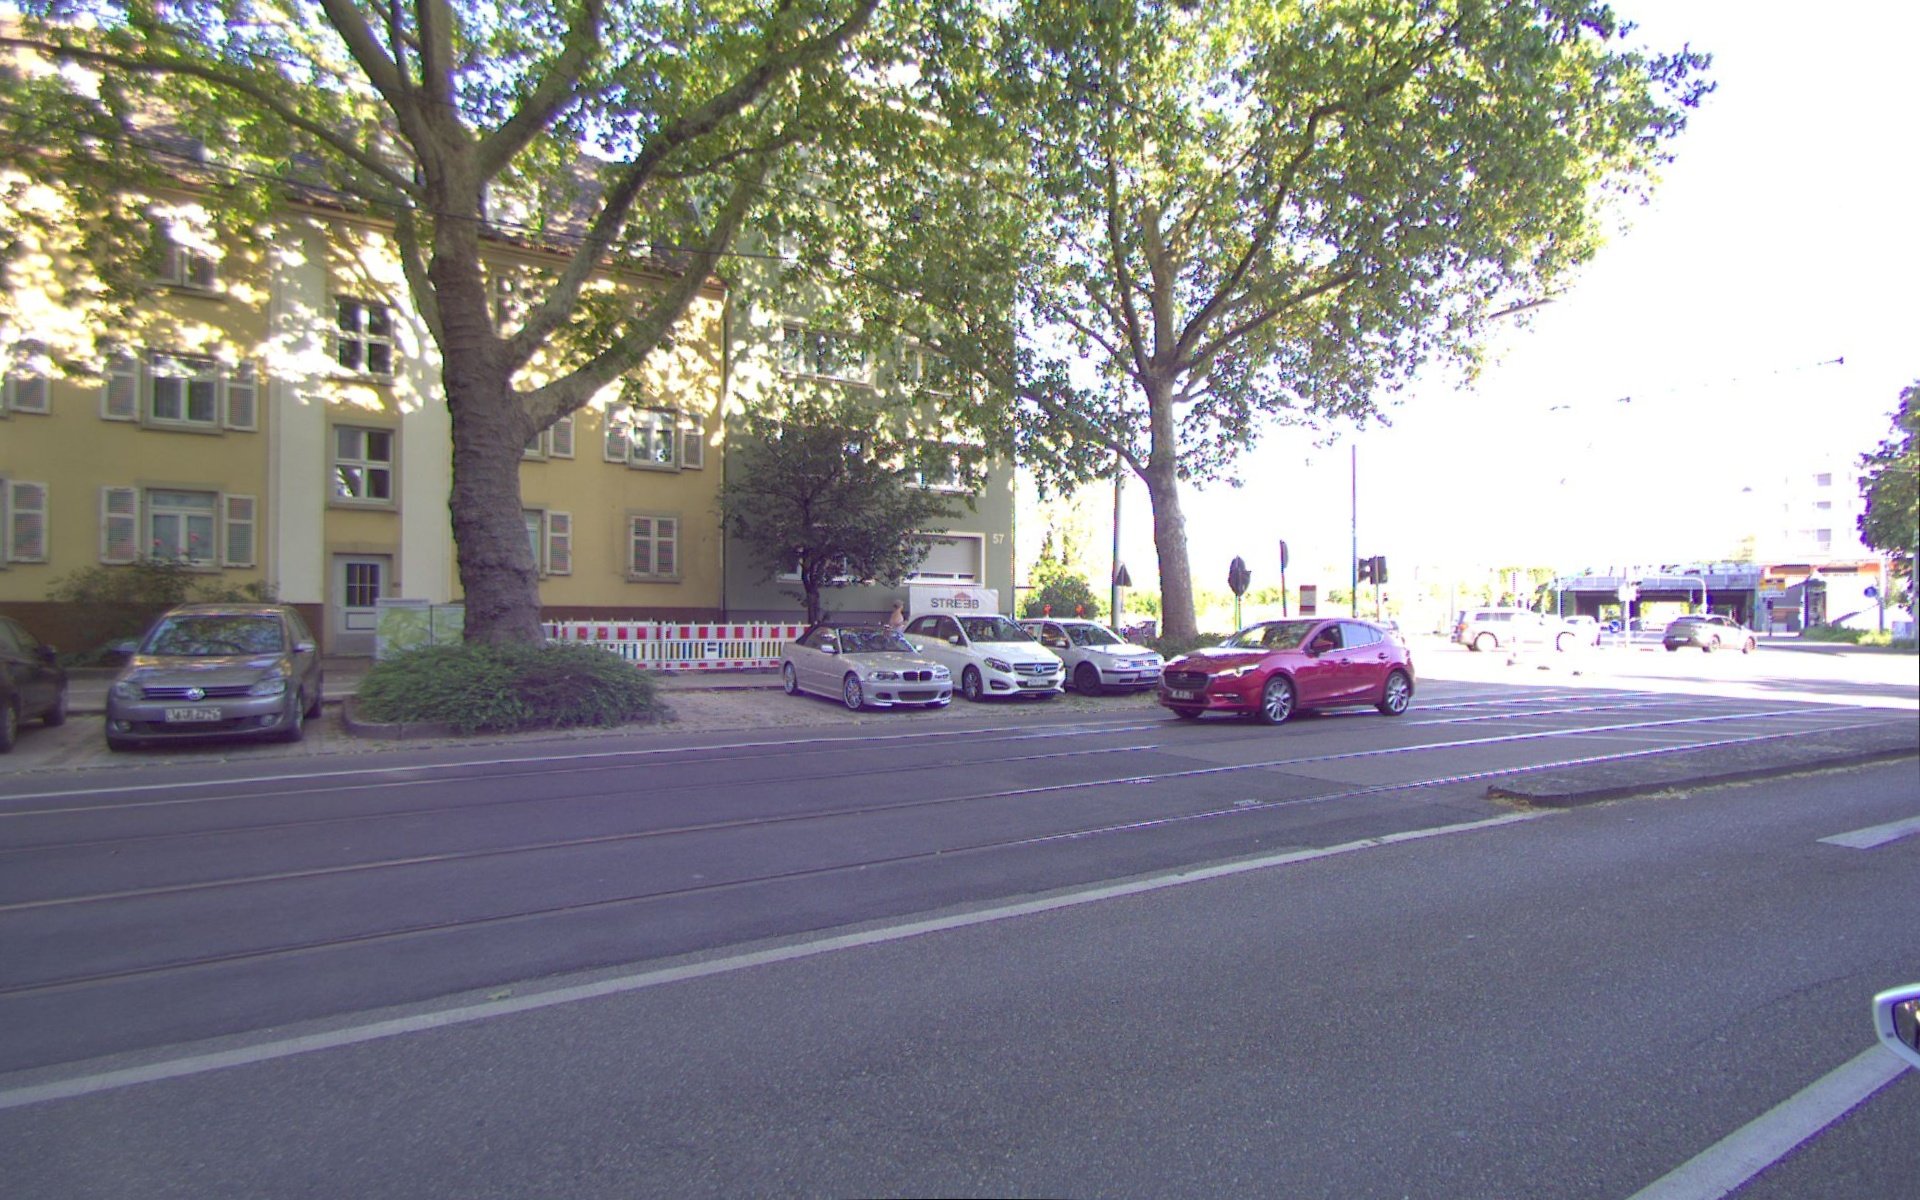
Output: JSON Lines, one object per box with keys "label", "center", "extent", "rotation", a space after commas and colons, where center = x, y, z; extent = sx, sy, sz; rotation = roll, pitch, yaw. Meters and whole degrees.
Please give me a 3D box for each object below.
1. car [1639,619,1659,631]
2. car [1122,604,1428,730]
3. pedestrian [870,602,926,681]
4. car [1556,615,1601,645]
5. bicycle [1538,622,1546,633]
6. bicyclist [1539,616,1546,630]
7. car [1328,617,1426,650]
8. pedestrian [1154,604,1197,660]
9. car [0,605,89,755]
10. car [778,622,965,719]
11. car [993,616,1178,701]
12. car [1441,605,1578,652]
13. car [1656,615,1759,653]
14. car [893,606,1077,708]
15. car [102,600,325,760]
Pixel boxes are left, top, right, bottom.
{"label": "car", "center": [75.861, 2.764, 110.683], "extent": [1.555, 1.277, 3.421], "rotation": [0, -1, 30]}
{"label": "car", "center": [4.698, 0.879, 14.767], "extent": [4.445, 1.586, 2.004], "rotation": [1, -1, -34]}
{"label": "pedestrian", "center": [-1.373, 0.910, 22.160], "extent": [0.946, 1.683, 0.767], "rotation": [2, 0, -35]}
{"label": "car", "center": [35.318, 1.695, 57.317], "extent": [1.860, 1.606, 3.823], "rotation": [2, 0, 37]}
{"label": "bicycle", "center": [53.553, 2.516, 92.393], "extent": [0.519, 0.995, 1.572], "rotation": [0, -1, 34]}
{"label": "bicyclist", "center": [53.514, 2.109, 92.344], "extent": [0.519, 1.239, 0.528], "rotation": [0, 0, 35]}
{"label": "car", "center": [20.672, 1.636, 49.942], "extent": [4.176, 1.575, 1.711], "rotation": [0, -1, 7]}
{"label": "pedestrian", "center": [6.629, 0.984, 30.887], "extent": [0.919, 1.669, 0.841], "rotation": [2, 0, -30]}
{"label": "car", "center": [-11.457, 0.834, 11.384], "extent": [1.652, 1.518, 3.778], "rotation": [1, 0, -29]}
{"label": "car", "center": [-1.642, 1.110, 17.309], "extent": [1.651, 1.370, 3.949], "rotation": [1, 0, -31]}
{"label": "car", "center": [2.448, 1.111, 20.529], "extent": [1.651, 1.473, 3.949], "rotation": [1, 0, -31]}
{"label": "car", "center": [23.159, 1.177, 42.500], "extent": [4.748, 1.907, 1.916], "rotation": [0, -1, 14]}
{"label": "car", "center": [32.757, 1.484, 44.023], "extent": [4.148, 1.539, 1.793], "rotation": [2, 0, -24]}
{"label": "car", "center": [0.358, 0.984, 19.154], "extent": [1.651, 1.669, 3.949], "rotation": [1, 0, -31]}
{"label": "car", "center": [-8.991, 0.833, 12.416], "extent": [1.652, 1.602, 3.953], "rotation": [1, 0, -29]}
